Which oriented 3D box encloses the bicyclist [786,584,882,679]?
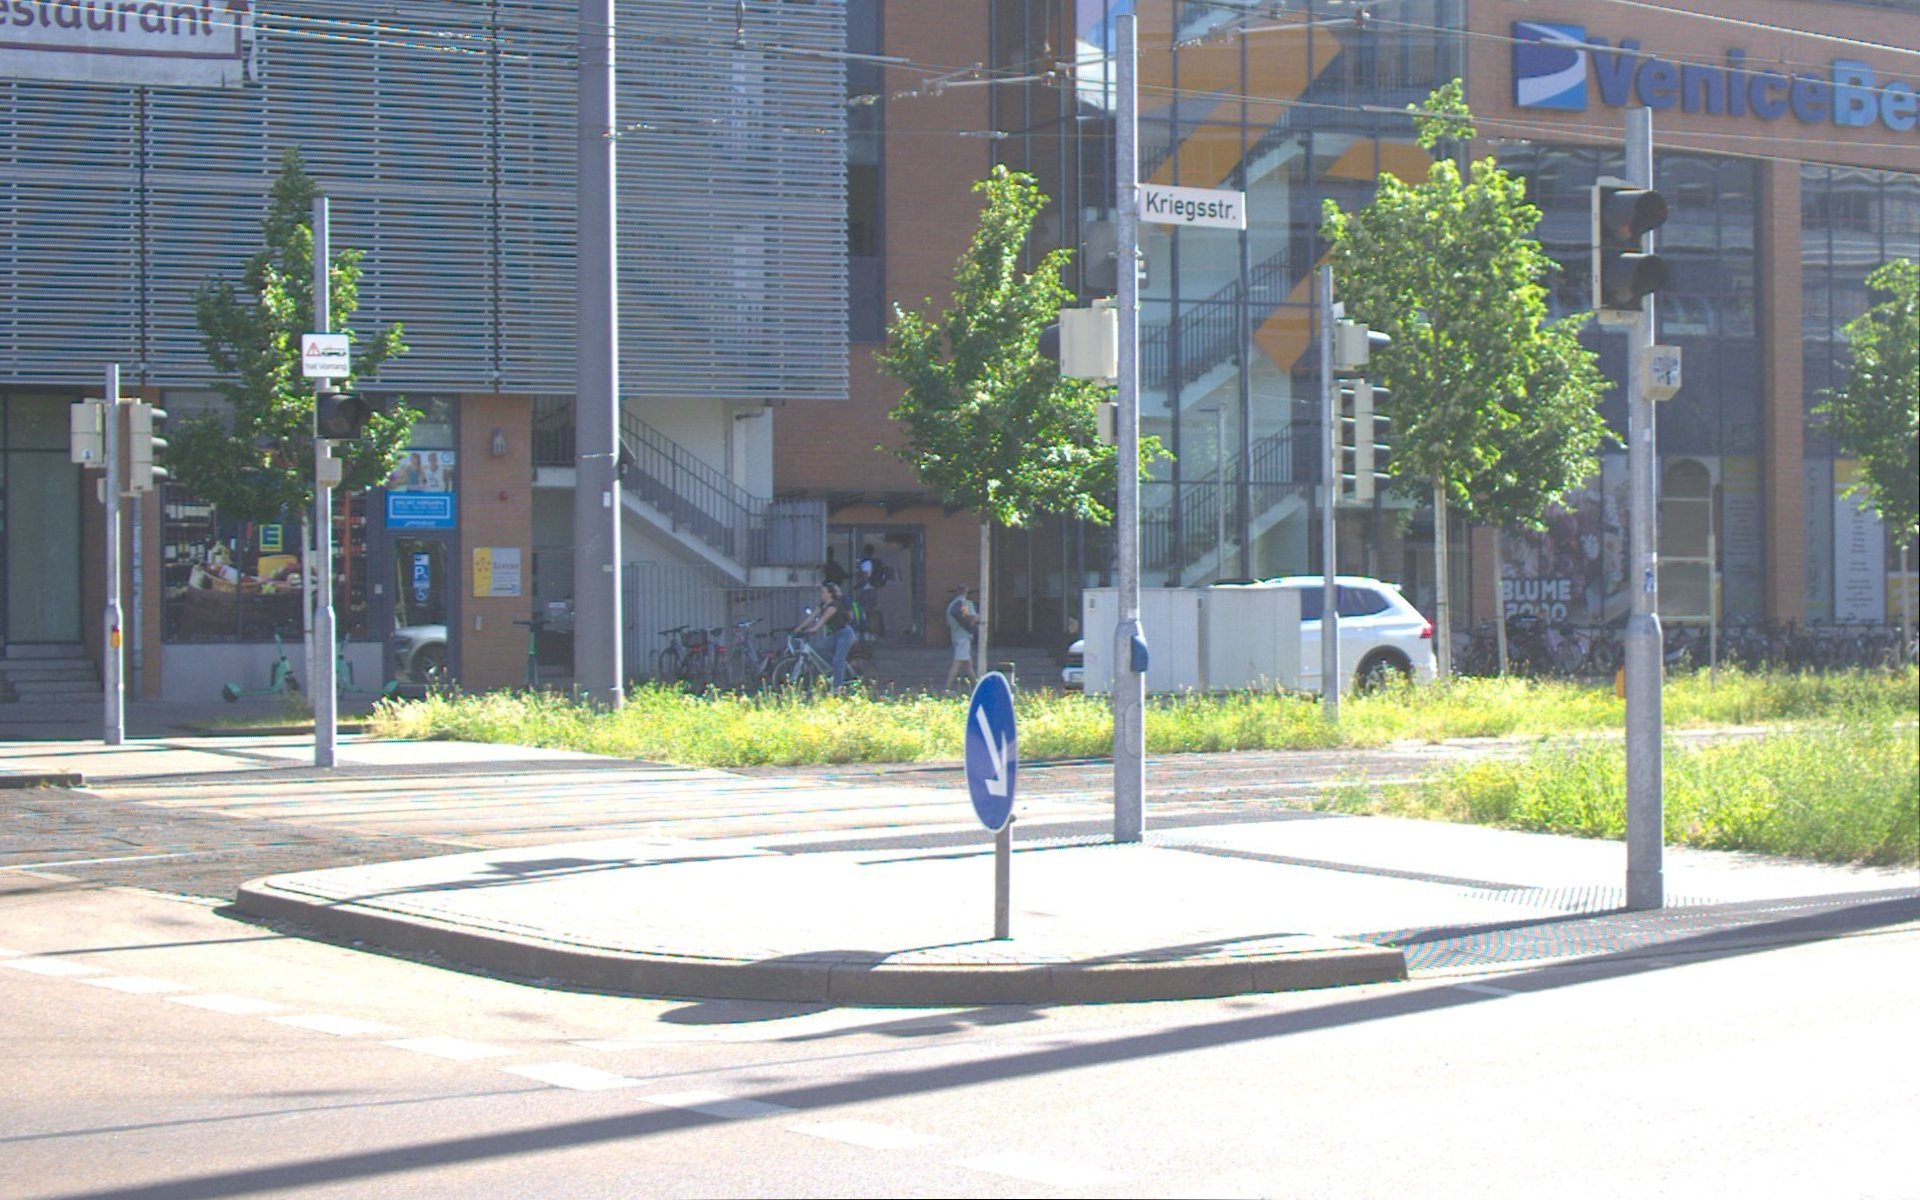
[{"bbox_3d":[-1.874,0.465,51.186,1.308,1.403,0.594,0,0,-25],"label":"bicyclist"}]

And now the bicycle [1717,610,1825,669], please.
[{"bbox_3d":[16.049,0.774,68.085,0.751,1.119,2.180,0,1,-31],"label":"bicycle"}]

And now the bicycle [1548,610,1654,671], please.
[{"bbox_3d":[12.393,0.773,66.550,0.751,1.119,2.180,0,1,-31],"label":"bicycle"}]

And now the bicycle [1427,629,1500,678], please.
[{"bbox_3d":[8.909,0.948,60.857,0.444,0.816,1.451,0,1,-31],"label":"bicycle"}]

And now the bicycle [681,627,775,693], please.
[{"bbox_3d":[-3.611,0.927,53.401,0.491,0.951,2.180,0,1,-31],"label":"bicycle"}]

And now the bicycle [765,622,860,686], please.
[{"bbox_3d":[-2.327,0.841,54.142,0.491,0.951,2.180,0,1,-31],"label":"bicycle"}]

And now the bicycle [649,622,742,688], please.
[{"bbox_3d":[-4.094,0.839,53.070,0.491,0.951,2.180,0,1,-31],"label":"bicycle"}]

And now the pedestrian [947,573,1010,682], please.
[{"bbox_3d":[0.287,0.428,53.828,0.776,1.679,0.597,0,0,-39],"label":"pedestrian"}]

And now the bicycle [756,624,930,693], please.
[{"bbox_3d":[-1.744,0.863,51.232,2.560,1.007,0.598,0,0,-25],"label":"bicycle"}]

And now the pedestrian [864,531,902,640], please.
[{"bbox_3d":[-1.355,-0.250,60.477,0.539,1.908,0.374,1,-1,-18],"label":"pedestrian"}]

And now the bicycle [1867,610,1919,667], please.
[{"bbox_3d":[19.470,0.788,69.679,0.751,1.119,2.180,0,1,-31],"label":"bicycle"}]

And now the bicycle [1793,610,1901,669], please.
[{"bbox_3d":[17.787,0.788,68.986,0.751,1.119,2.180,0,1,-31],"label":"bicycle"}]

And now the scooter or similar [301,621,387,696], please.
[{"bbox_3d":[-9.190,0.879,51.307,1.201,1.099,0.277,2,-1,-24],"label":"scooter or similar"}]

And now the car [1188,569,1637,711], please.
[{"bbox_3d":[5.564,0.466,41.933,5.528,1.646,1.814,0,0,-32],"label":"car"}]

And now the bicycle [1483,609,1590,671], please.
[{"bbox_3d":[10.949,0.756,65.405,0.751,1.119,2.180,0,1,-31],"label":"bicycle"}]

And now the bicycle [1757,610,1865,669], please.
[{"bbox_3d":[16.963,0.775,68.576,0.751,1.119,2.180,0,1,-31],"label":"bicycle"}]

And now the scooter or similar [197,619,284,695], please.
[{"bbox_3d":[-10.575,0.839,50.535,1.201,1.099,0.277,2,-1,-24],"label":"scooter or similar"}]

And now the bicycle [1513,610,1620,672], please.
[{"bbox_3d":[11.644,0.777,66.095,0.751,1.119,2.180,0,1,-31],"label":"bicycle"}]

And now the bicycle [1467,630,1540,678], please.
[{"bbox_3d":[9.706,0.955,61.433,0.444,0.816,1.451,0,1,-31],"label":"bicycle"}]

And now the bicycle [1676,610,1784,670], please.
[{"bbox_3d":[15.136,0.777,67.655,0.751,1.119,2.180,0,1,-31],"label":"bicycle"}]

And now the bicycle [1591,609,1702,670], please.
[{"bbox_3d":[13.347,0.762,66.924,0.751,1.119,2.180,0,1,-36],"label":"bicycle"}]

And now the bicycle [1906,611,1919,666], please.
[{"bbox_3d":[20.330,0.799,69.915,0.751,1.119,2.180,0,1,-31],"label":"bicycle"}]

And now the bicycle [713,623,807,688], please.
[{"bbox_3d":[-3.141,0.854,53.737,0.491,0.951,2.180,0,1,-31],"label":"bicycle"}]

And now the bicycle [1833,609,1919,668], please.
[{"bbox_3d":[18.686,0.767,69.321,0.751,1.119,2.180,0,1,-31],"label":"bicycle"}]
